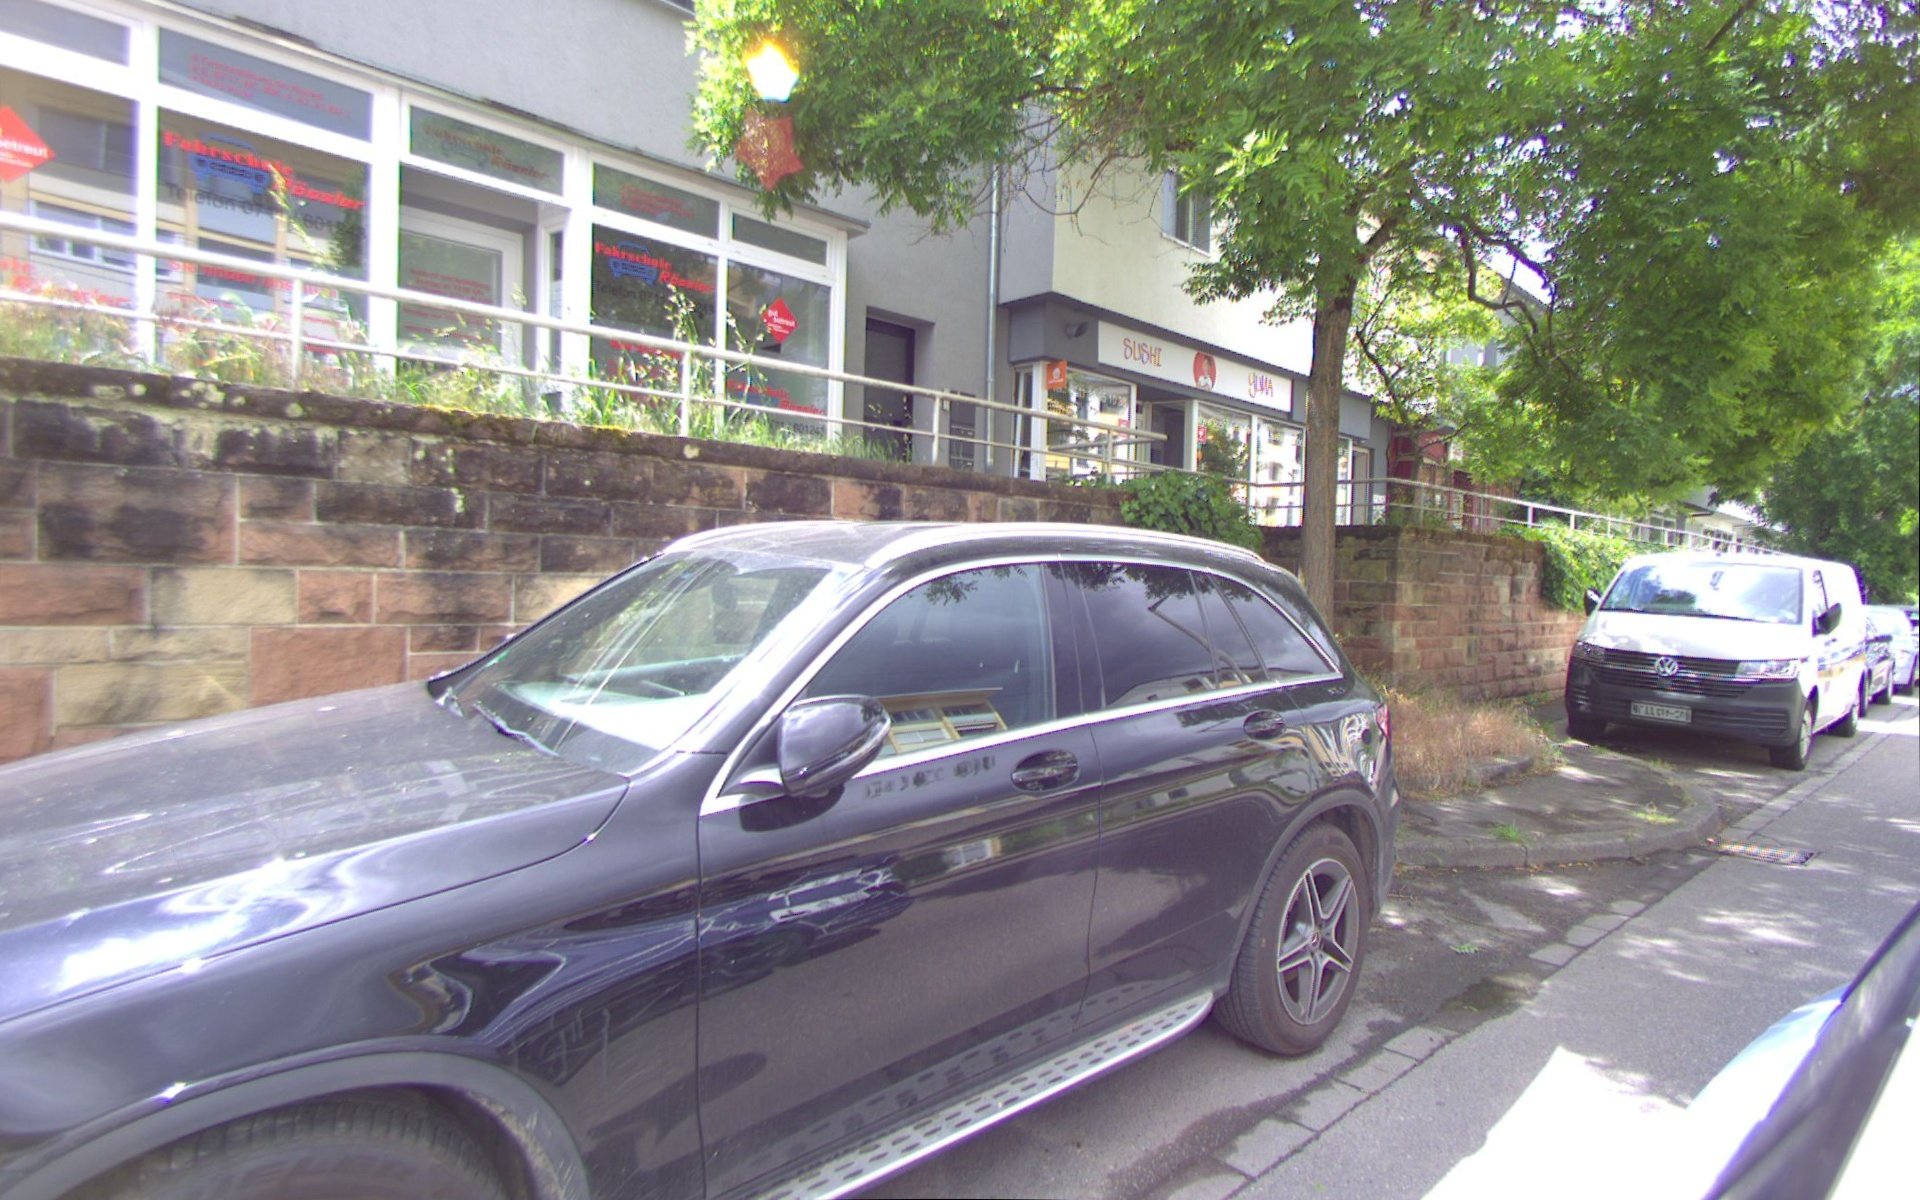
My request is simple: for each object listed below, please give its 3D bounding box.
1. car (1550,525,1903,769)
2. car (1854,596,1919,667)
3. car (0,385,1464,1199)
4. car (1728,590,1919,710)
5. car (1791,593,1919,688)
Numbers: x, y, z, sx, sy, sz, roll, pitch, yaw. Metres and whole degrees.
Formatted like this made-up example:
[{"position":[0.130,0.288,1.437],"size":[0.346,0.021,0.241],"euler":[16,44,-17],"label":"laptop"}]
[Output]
[{"position":[8.210,0.355,10.646],"size":[4.925,1.994,1.977],"euler":[0,1,-41],"label":"car"},{"position":[21.379,0.665,22.451],"size":[4.075,1.446,1.783],"euler":[0,2,-41],"label":"car"},{"position":[-0.422,0.521,2.909],"size":[4.371,1.637,1.793],"euler":[0,4,-42],"label":"car"},{"position":[12.383,0.617,14.411],"size":[3.669,1.446,1.577],"euler":[0,1,-41],"label":"car"},{"position":[16.186,0.636,17.926],"size":[4.076,1.446,1.782],"euler":[0,2,-44],"label":"car"}]
